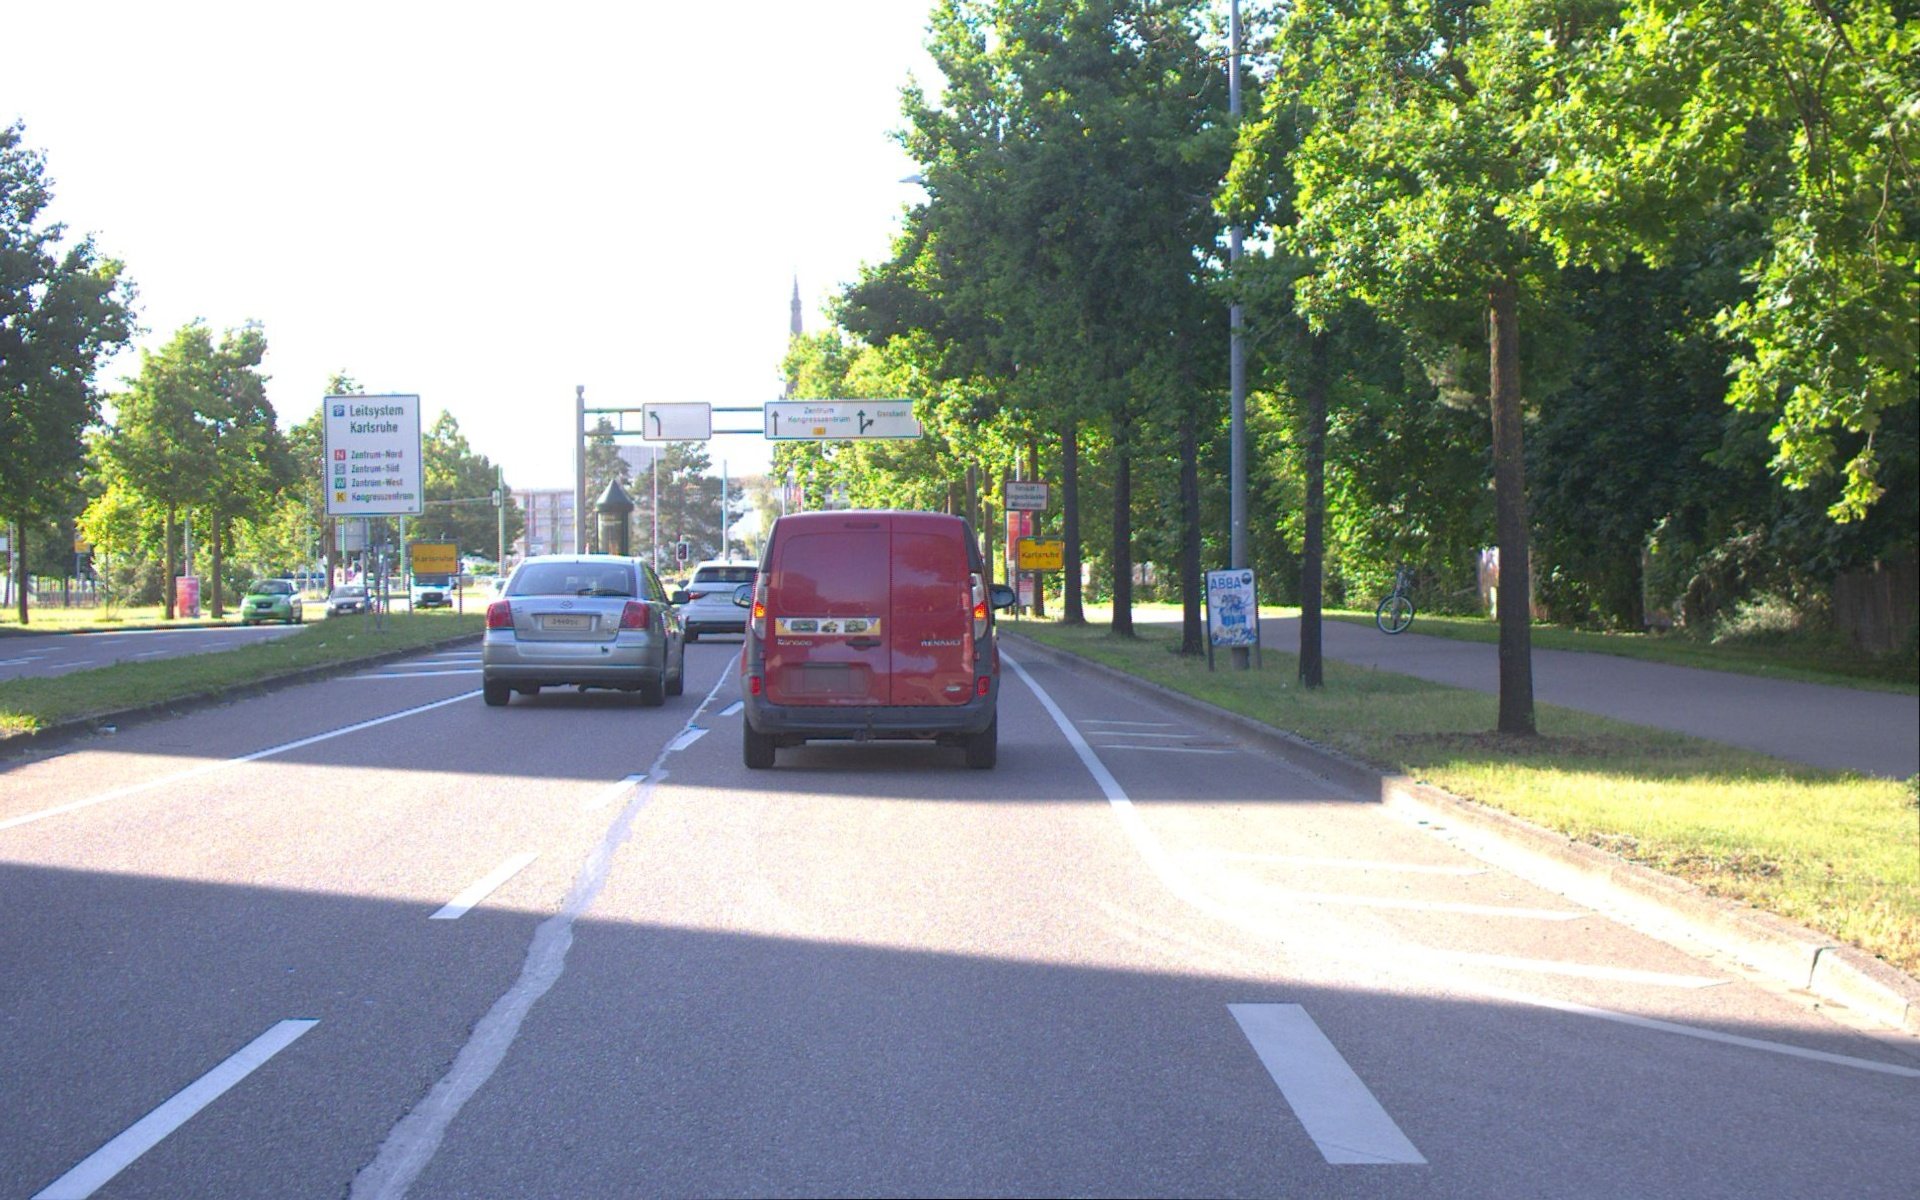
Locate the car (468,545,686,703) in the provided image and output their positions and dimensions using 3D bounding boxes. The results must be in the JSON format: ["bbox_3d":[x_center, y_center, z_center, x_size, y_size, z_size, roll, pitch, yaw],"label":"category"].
[{"bbox_3d":[-3.747,0.199,34.203,1.841,1.451,4.163,1,1,-2],"label":"car"}]

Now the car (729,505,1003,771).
[{"bbox_3d":[-0.724,0.227,24.918,1.806,1.753,4.006,1,1,-3],"label":"car"}]

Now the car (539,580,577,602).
[{"bbox_3d":[-21.161,-0.486,181.144,1.827,1.107,4.175,-1,1,-4],"label":"car"}]

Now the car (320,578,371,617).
[{"bbox_3d":[-24.458,-0.104,136.823,1.550,1.503,4.027,0,1,-4],"label":"car"}]

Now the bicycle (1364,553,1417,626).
[{"bbox_3d":[6.745,-0.170,53.903,0.774,1.127,1.708,0,1,5],"label":"bicycle"}]

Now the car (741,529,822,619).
[{"bbox_3d":[-3.786,-0.558,73.150,1.661,1.850,3.559,0,1,-3],"label":"car"}]

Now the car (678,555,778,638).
[{"bbox_3d":[-4.011,-0.086,59.767,1.661,1.393,3.559,0,1,-3],"label":"car"}]

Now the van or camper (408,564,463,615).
[{"bbox_3d":[-25.487,-0.544,167.305,1.993,2.360,5.994,-2,1,-3],"label":"van or camper"}]

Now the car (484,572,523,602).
[{"bbox_3d":[-22.836,-0.672,172.040,1.688,1.471,4.050,-1,1,-4],"label":"car"}]

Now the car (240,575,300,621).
[{"bbox_3d":[-22.502,-0.073,112.190,1.445,1.431,3.460,-1,1,-4],"label":"car"}]
